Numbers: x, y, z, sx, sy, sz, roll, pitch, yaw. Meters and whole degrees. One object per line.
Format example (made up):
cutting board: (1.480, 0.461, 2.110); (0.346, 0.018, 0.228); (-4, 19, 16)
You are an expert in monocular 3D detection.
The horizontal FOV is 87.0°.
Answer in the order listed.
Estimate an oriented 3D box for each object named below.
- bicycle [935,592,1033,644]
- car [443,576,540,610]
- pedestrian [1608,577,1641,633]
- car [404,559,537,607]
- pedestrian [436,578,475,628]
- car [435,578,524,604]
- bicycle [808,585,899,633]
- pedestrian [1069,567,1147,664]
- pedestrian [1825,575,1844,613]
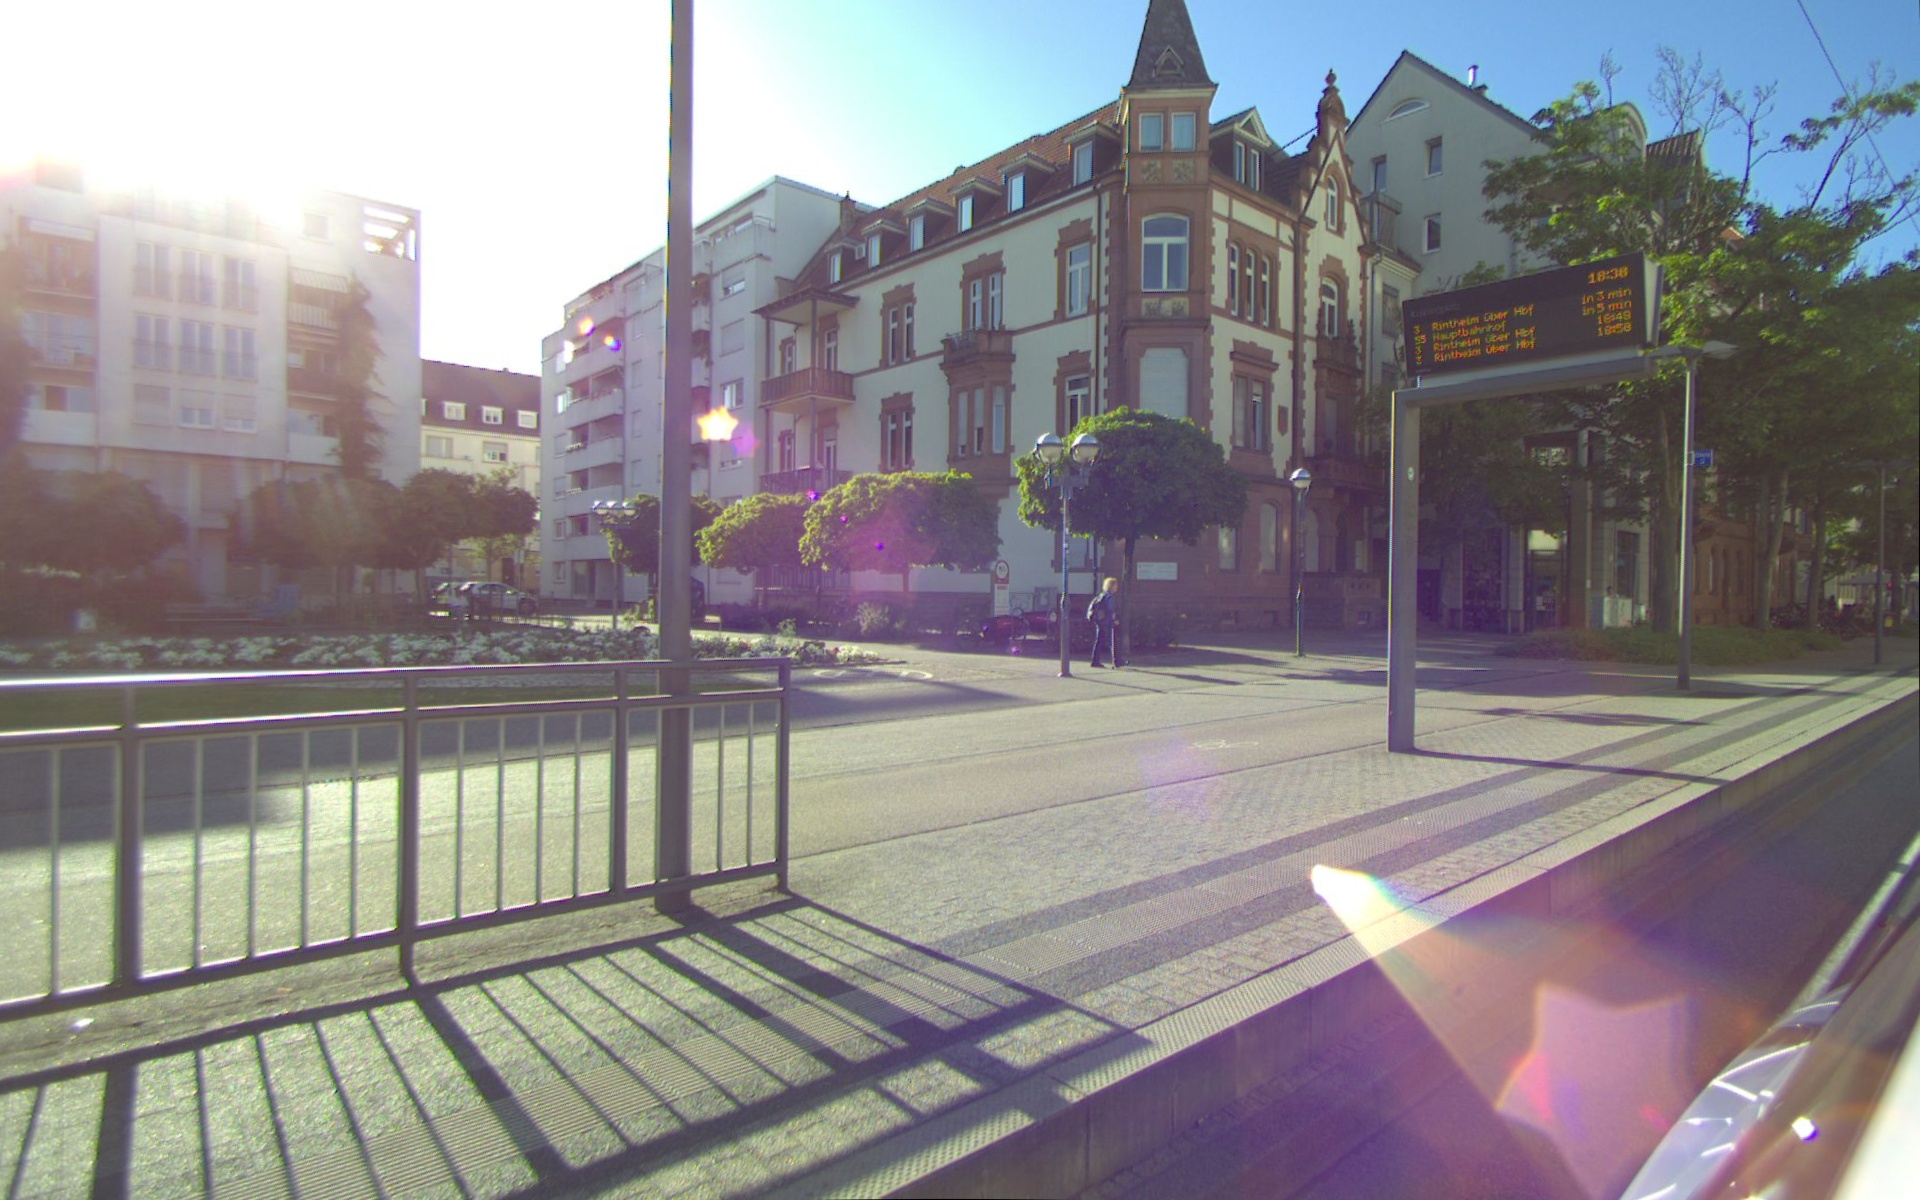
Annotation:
bicycle: (0.603, 0.405, 24.091); (0.786, 1.081, 2.767); (1, 2, 40)
car: (-22.223, -0.322, 48.026); (3.923, 1.536, 2.001); (0, 1, -34)
pedestrian: (21.272, 0.155, 32.403); (0.740, 1.757, 0.864); (1, 0, 43)
car: (-27.879, -0.929, 57.783); (2.806, 2.587, 6.295); (1, 1, 44)
pedestrian: (-14.658, 0.071, 29.398); (0.917, 1.429, 1.529); (0, 1, -30)
car: (-24.853, -0.474, 52.346); (3.923, 1.304, 2.001); (0, 1, -34)
bicycle: (-3.222, 0.250, 30.924); (2.864, 1.389, 0.745); (0, 1, -41)
pedestrian: (2.670, 0.256, 18.264); (1.064, 1.689, 0.944); (1, 0, 37)
pedestrian: (47.492, -0.344, 54.957); (0.549, 2.039, 0.654); (0, 0, -38)
